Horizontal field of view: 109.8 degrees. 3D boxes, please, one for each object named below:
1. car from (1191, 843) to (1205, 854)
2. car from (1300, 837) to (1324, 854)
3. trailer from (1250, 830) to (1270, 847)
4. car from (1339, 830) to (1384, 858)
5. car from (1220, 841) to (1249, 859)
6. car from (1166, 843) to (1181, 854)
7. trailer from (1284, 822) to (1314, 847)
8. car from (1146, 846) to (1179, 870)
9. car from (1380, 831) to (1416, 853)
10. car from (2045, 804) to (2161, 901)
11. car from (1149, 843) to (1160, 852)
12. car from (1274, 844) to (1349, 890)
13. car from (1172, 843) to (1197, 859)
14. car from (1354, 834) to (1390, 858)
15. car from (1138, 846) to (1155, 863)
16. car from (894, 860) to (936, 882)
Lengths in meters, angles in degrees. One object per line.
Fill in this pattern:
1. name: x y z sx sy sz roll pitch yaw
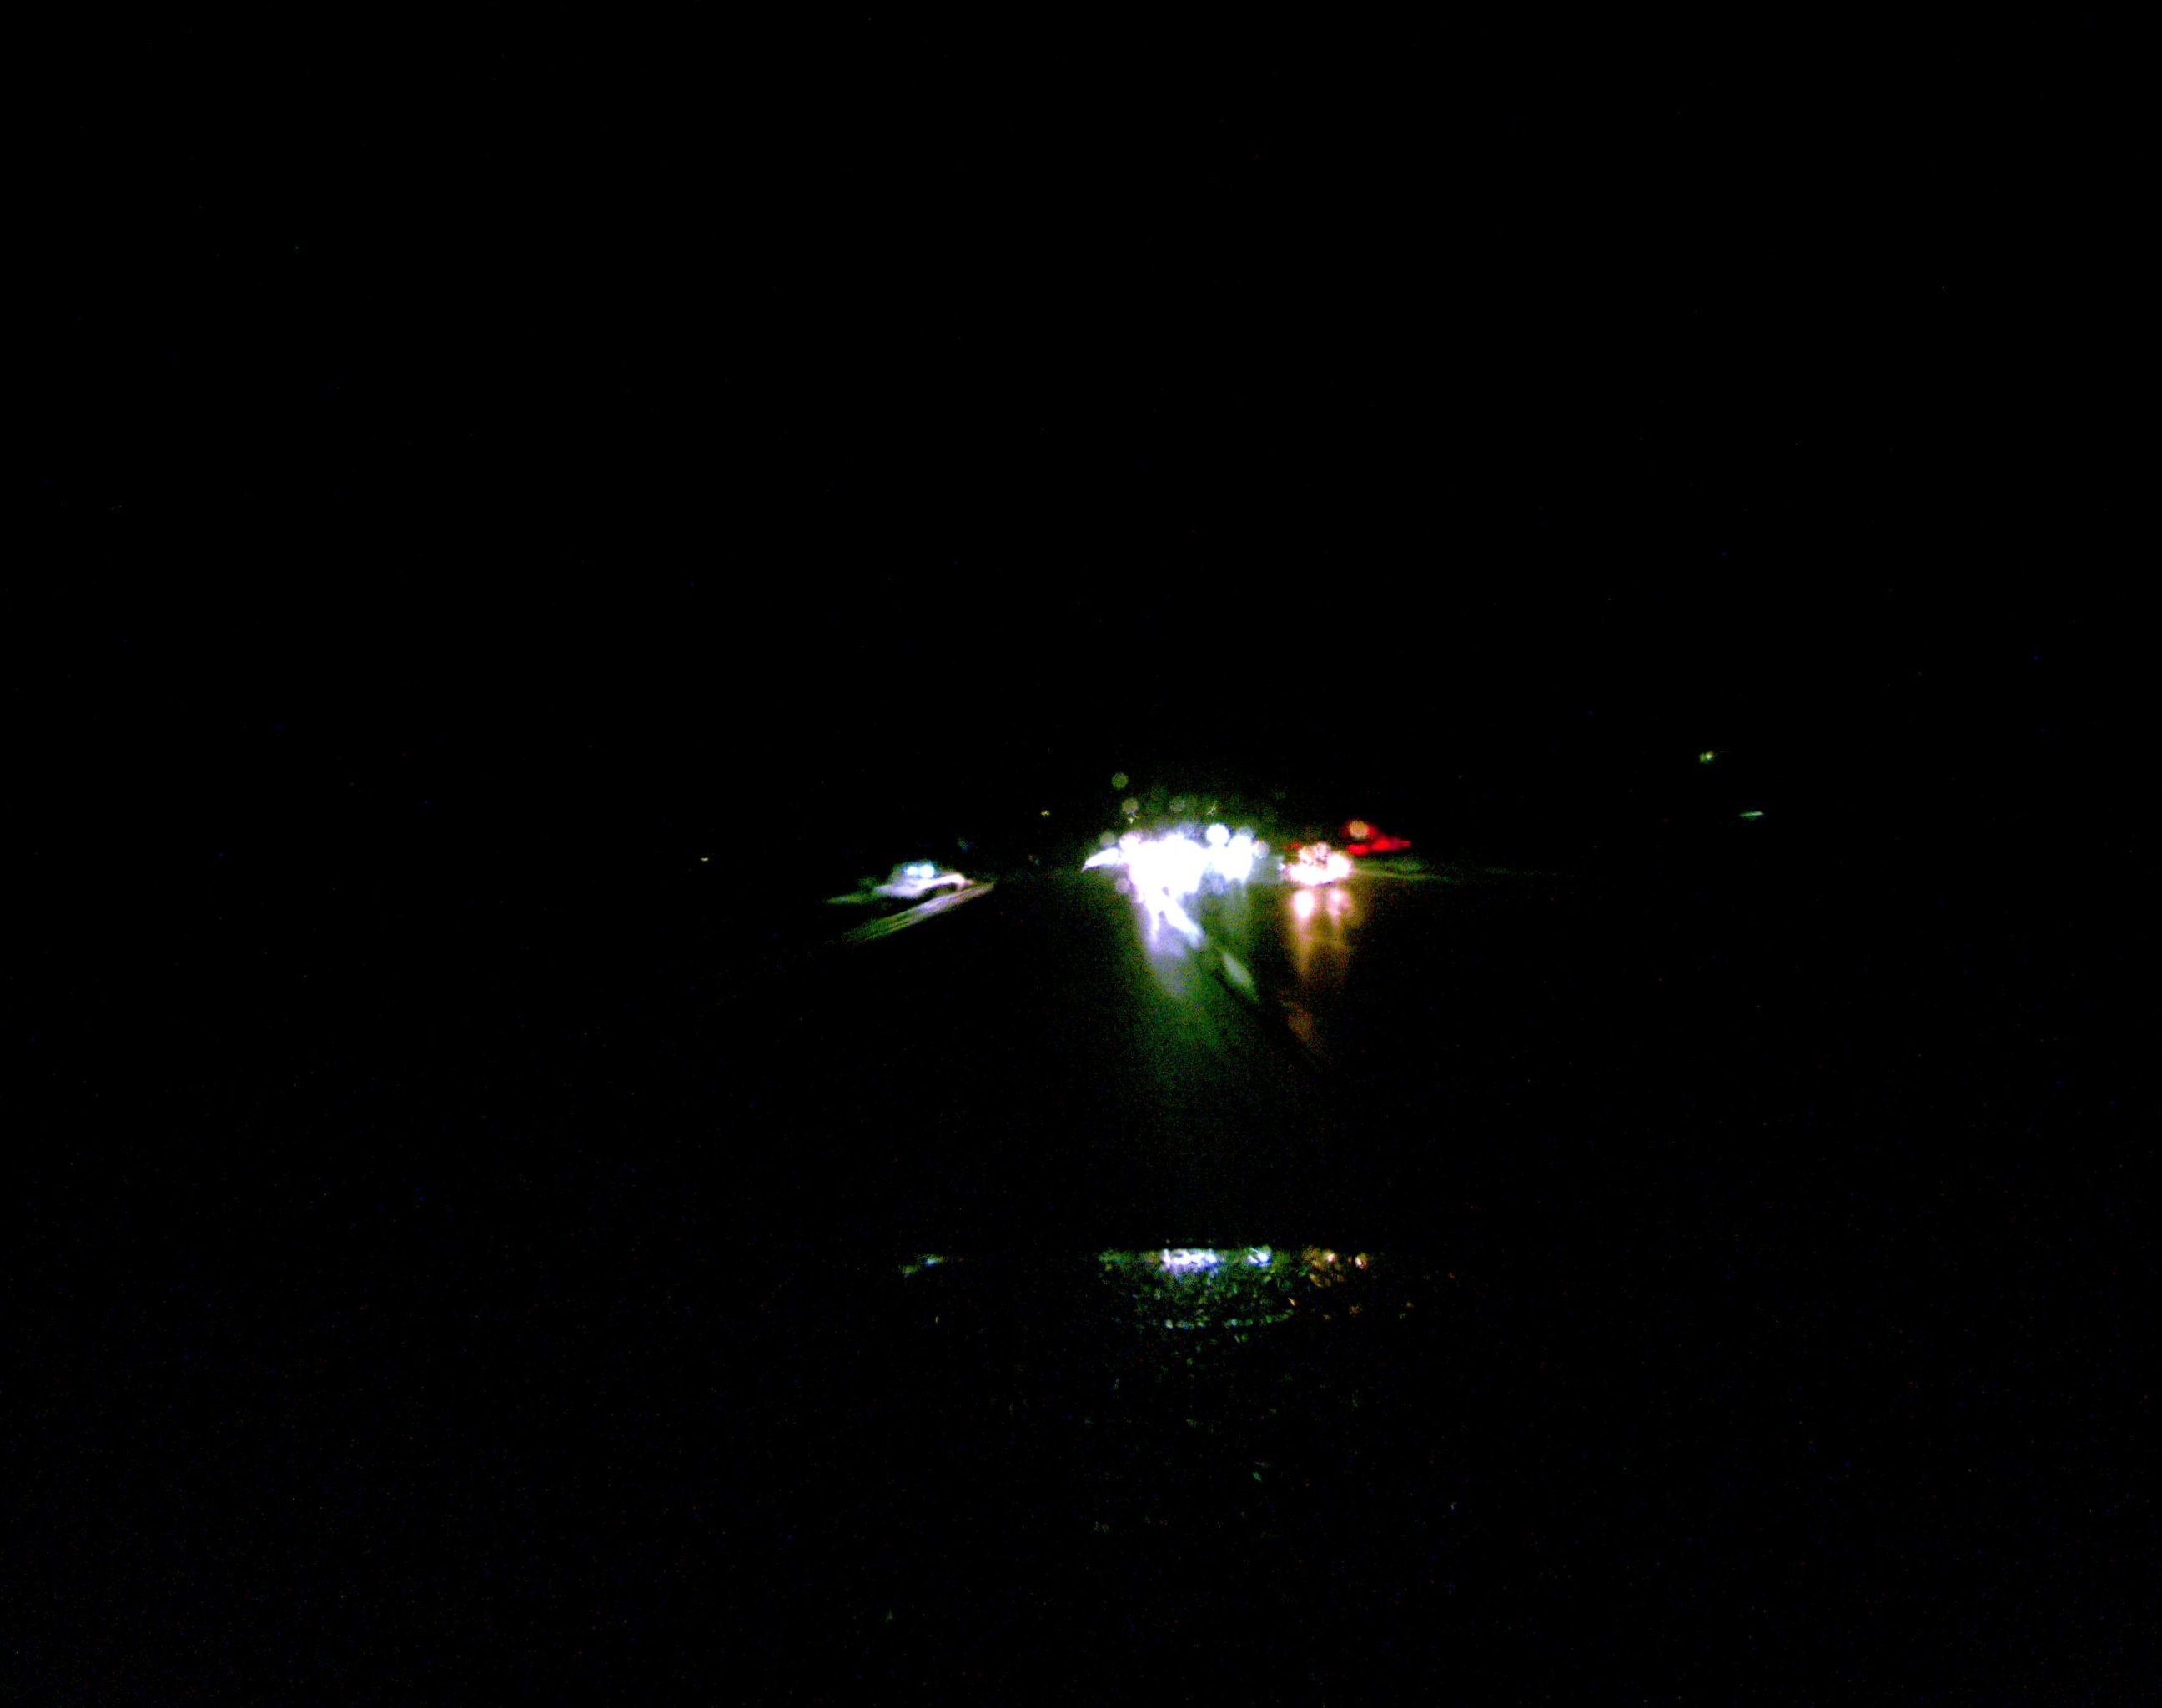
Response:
1. car: 19.676 -0.955 128.128 1.929 1.783 4.000 -4 1 5
2. car: 29.574 -1.080 97.353 1.998 2.002 4.001 -5 1 6
3. trailer: 44.655 -3.921 189.671 2.776 4.006 14.018 -5 1 6
4. car: 22.392 -0.827 60.864 1.998 2.002 4.567 -5 1 3
5. car: 15.039 -0.432 74.612 1.921 1.587 3.999 -3 1 -1
6. car: 15.495 -0.925 127.388 1.929 1.783 4.000 -5 1 3
7. trailer: 36.543 -3.296 127.789 2.657 3.709 13.948 -5 1 8
8. car: 6.093 0.278 57.329 1.921 1.587 3.999 -3 1 -1
9. car: 32.240 -1.194 77.368 1.998 1.970 4.000 -5 1 3
10. car: 24.433 -0.055 16.311 1.998 2.002 4.278 -5 1 2
11. car: 15.503 -1.368 160.528 1.929 1.783 4.000 -5 1 3
12. car: 8.786 0.445 29.303 1.726 1.587 4.000 -3 1 2
13. car: 11.109 -0.323 81.749 1.921 1.587 3.999 -3 1 -1
14. car: 27.753 -0.762 72.542 1.998 2.002 4.000 -5 1 3
15. car: 8.543 0.028 99.211 1.998 2.002 4.000 -5 1 4
16. car: -15.075 1.564 68.764 2.003 1.737 4.090 -6 1 -38
